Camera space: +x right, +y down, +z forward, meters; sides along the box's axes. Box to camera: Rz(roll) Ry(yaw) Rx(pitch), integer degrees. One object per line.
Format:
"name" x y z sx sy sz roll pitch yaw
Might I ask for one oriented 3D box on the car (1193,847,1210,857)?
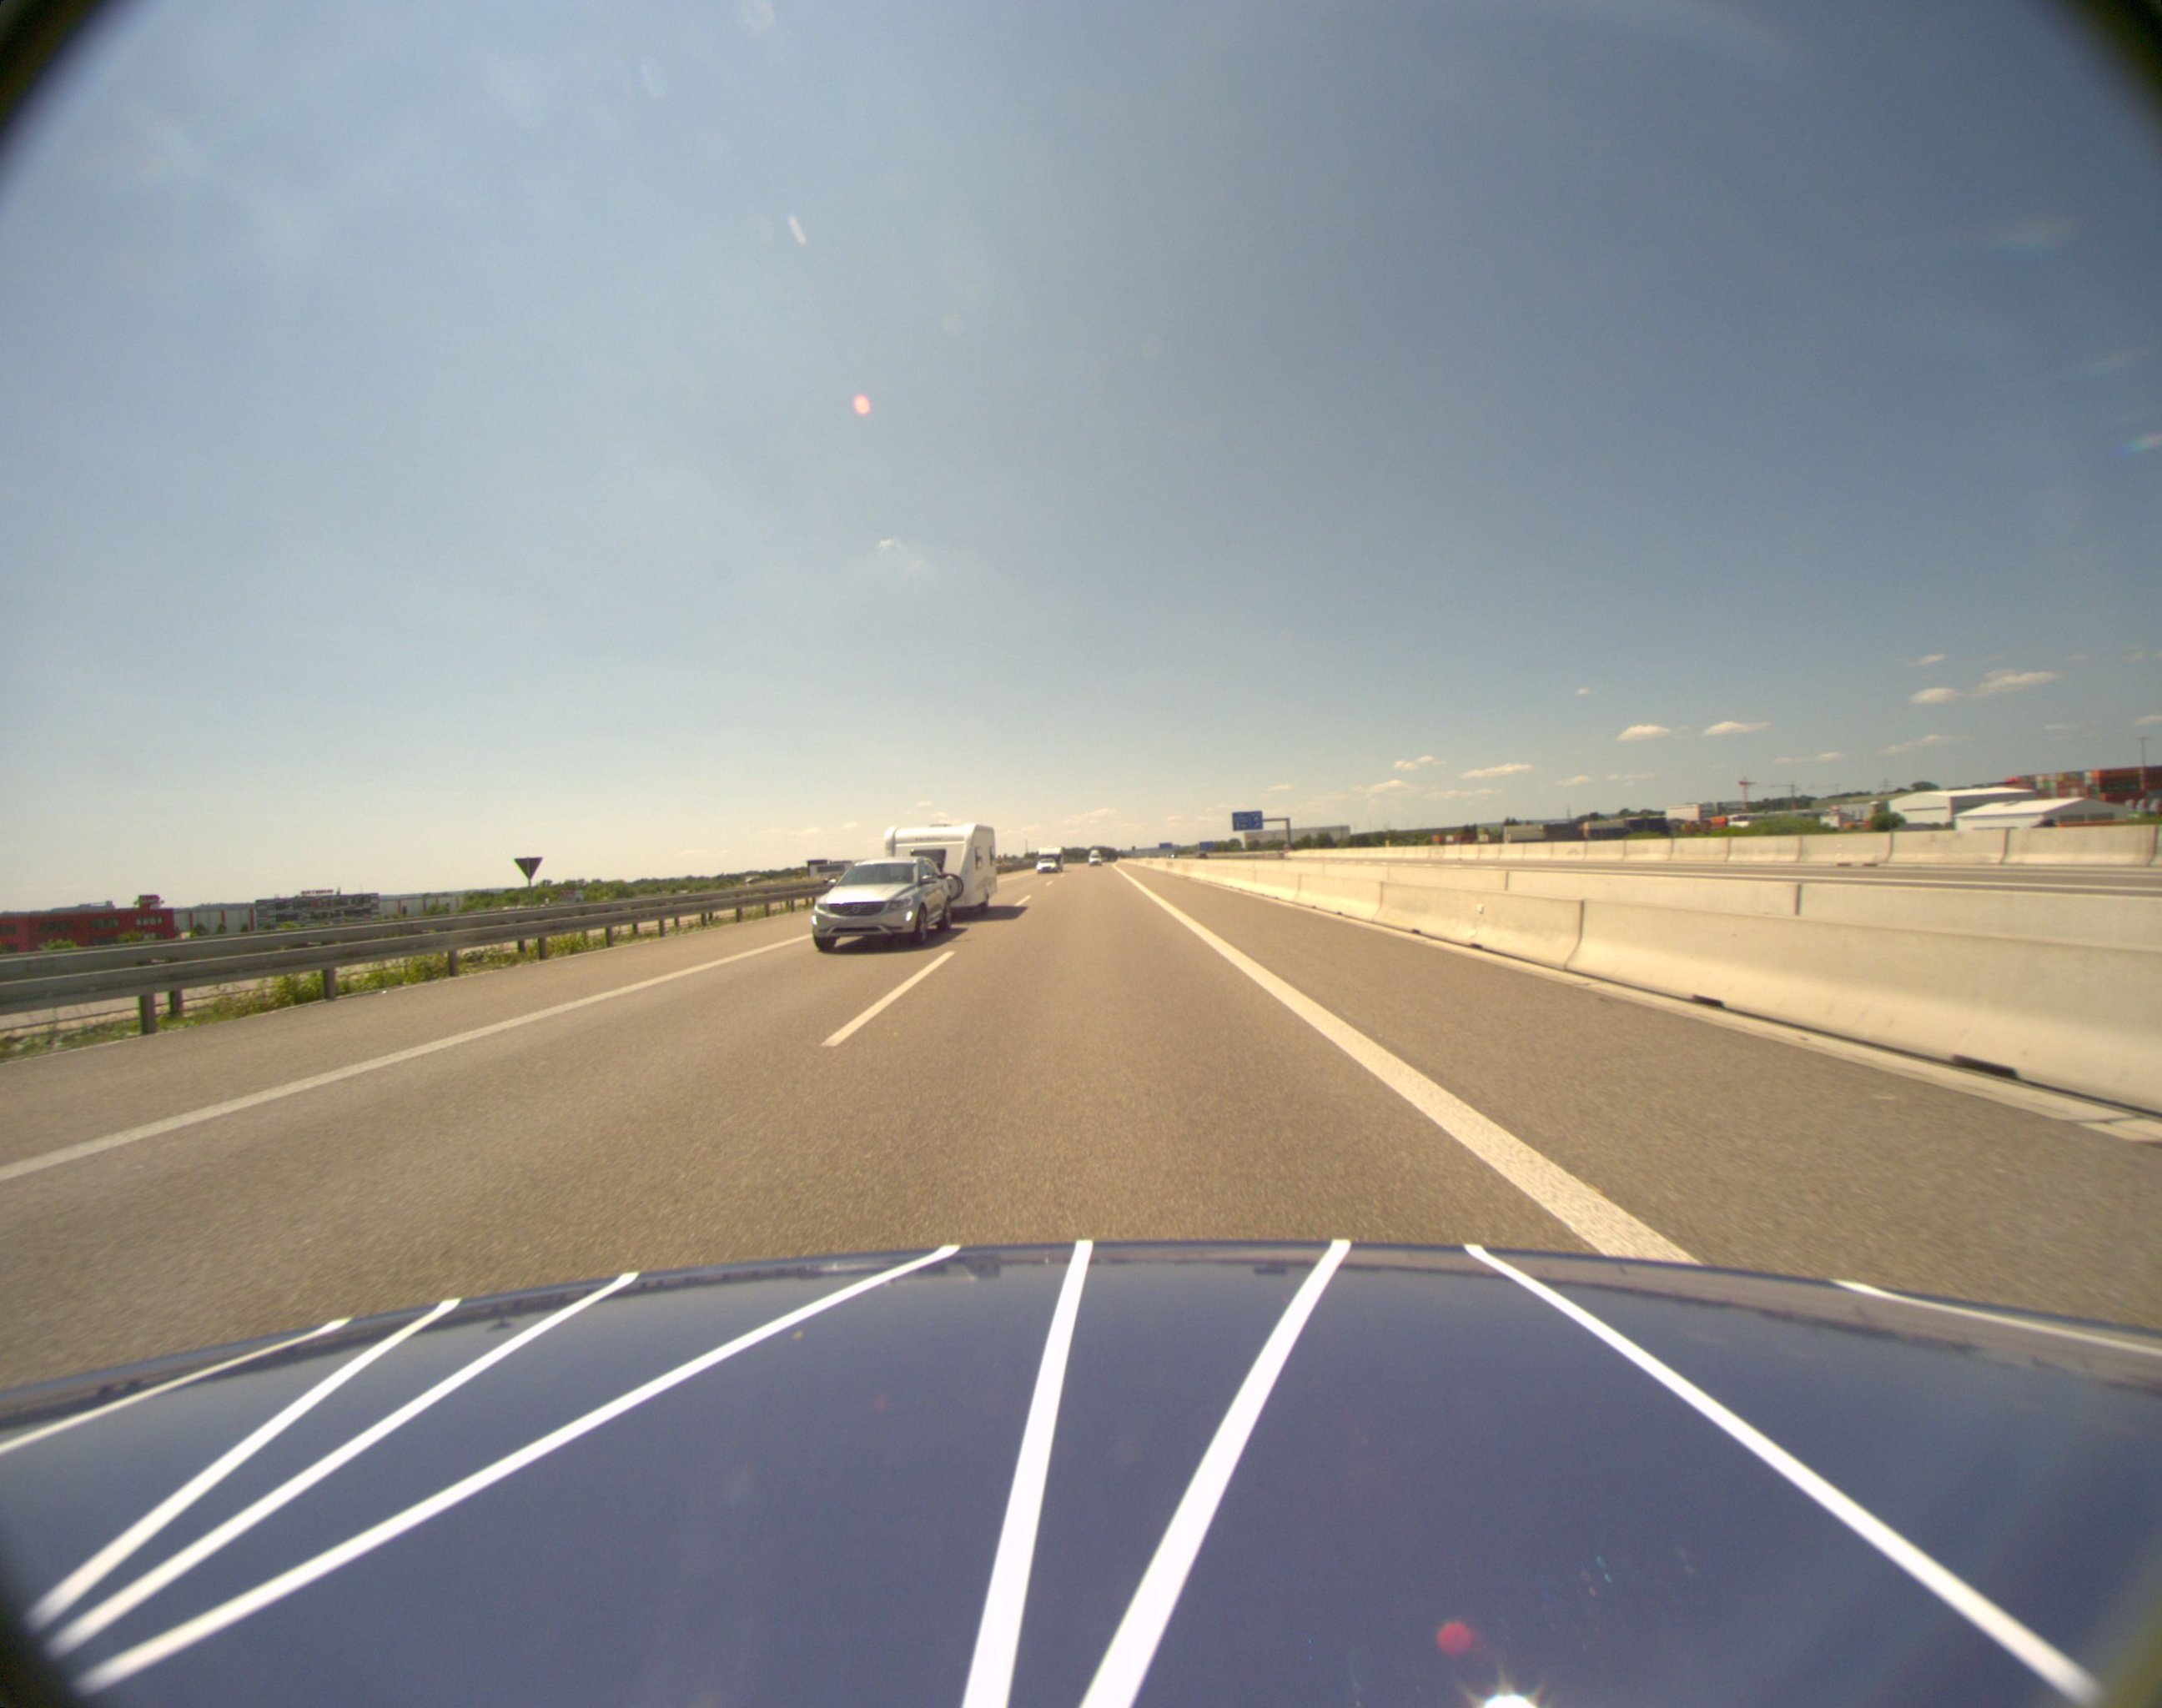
"car" 18.371 -0.337 115.637 1.917 1.412 4.908 -2 0 2

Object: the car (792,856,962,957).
"car" -3.789 0.893 15.137 1.885 1.613 4.904 -2 0 2

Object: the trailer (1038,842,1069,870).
"trailer" -2.814 0.243 79.141 2.500 2.686 7.157 -2 -1 3

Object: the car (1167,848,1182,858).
"car" 14.659 -0.211 119.608 1.847 1.412 4.525 -2 0 2

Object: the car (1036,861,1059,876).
"car" -3.221 1.410 73.710 1.872 1.352 3.674 -1 0 3

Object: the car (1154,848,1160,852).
"car" 26.398 -1.333 262.965 1.737 1.528 4.549 -2 0 2

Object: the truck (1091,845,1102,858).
"truck" 3.439 -0.636 168.155 2.168 2.797 6.490 -2 0 2

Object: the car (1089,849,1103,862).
"car" 2.233 0.217 115.716 1.998 2.002 4.000 -2 0 1

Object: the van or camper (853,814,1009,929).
"van or camper" -3.833 0.439 21.440 2.518 2.577 7.819 -2 -1 2
